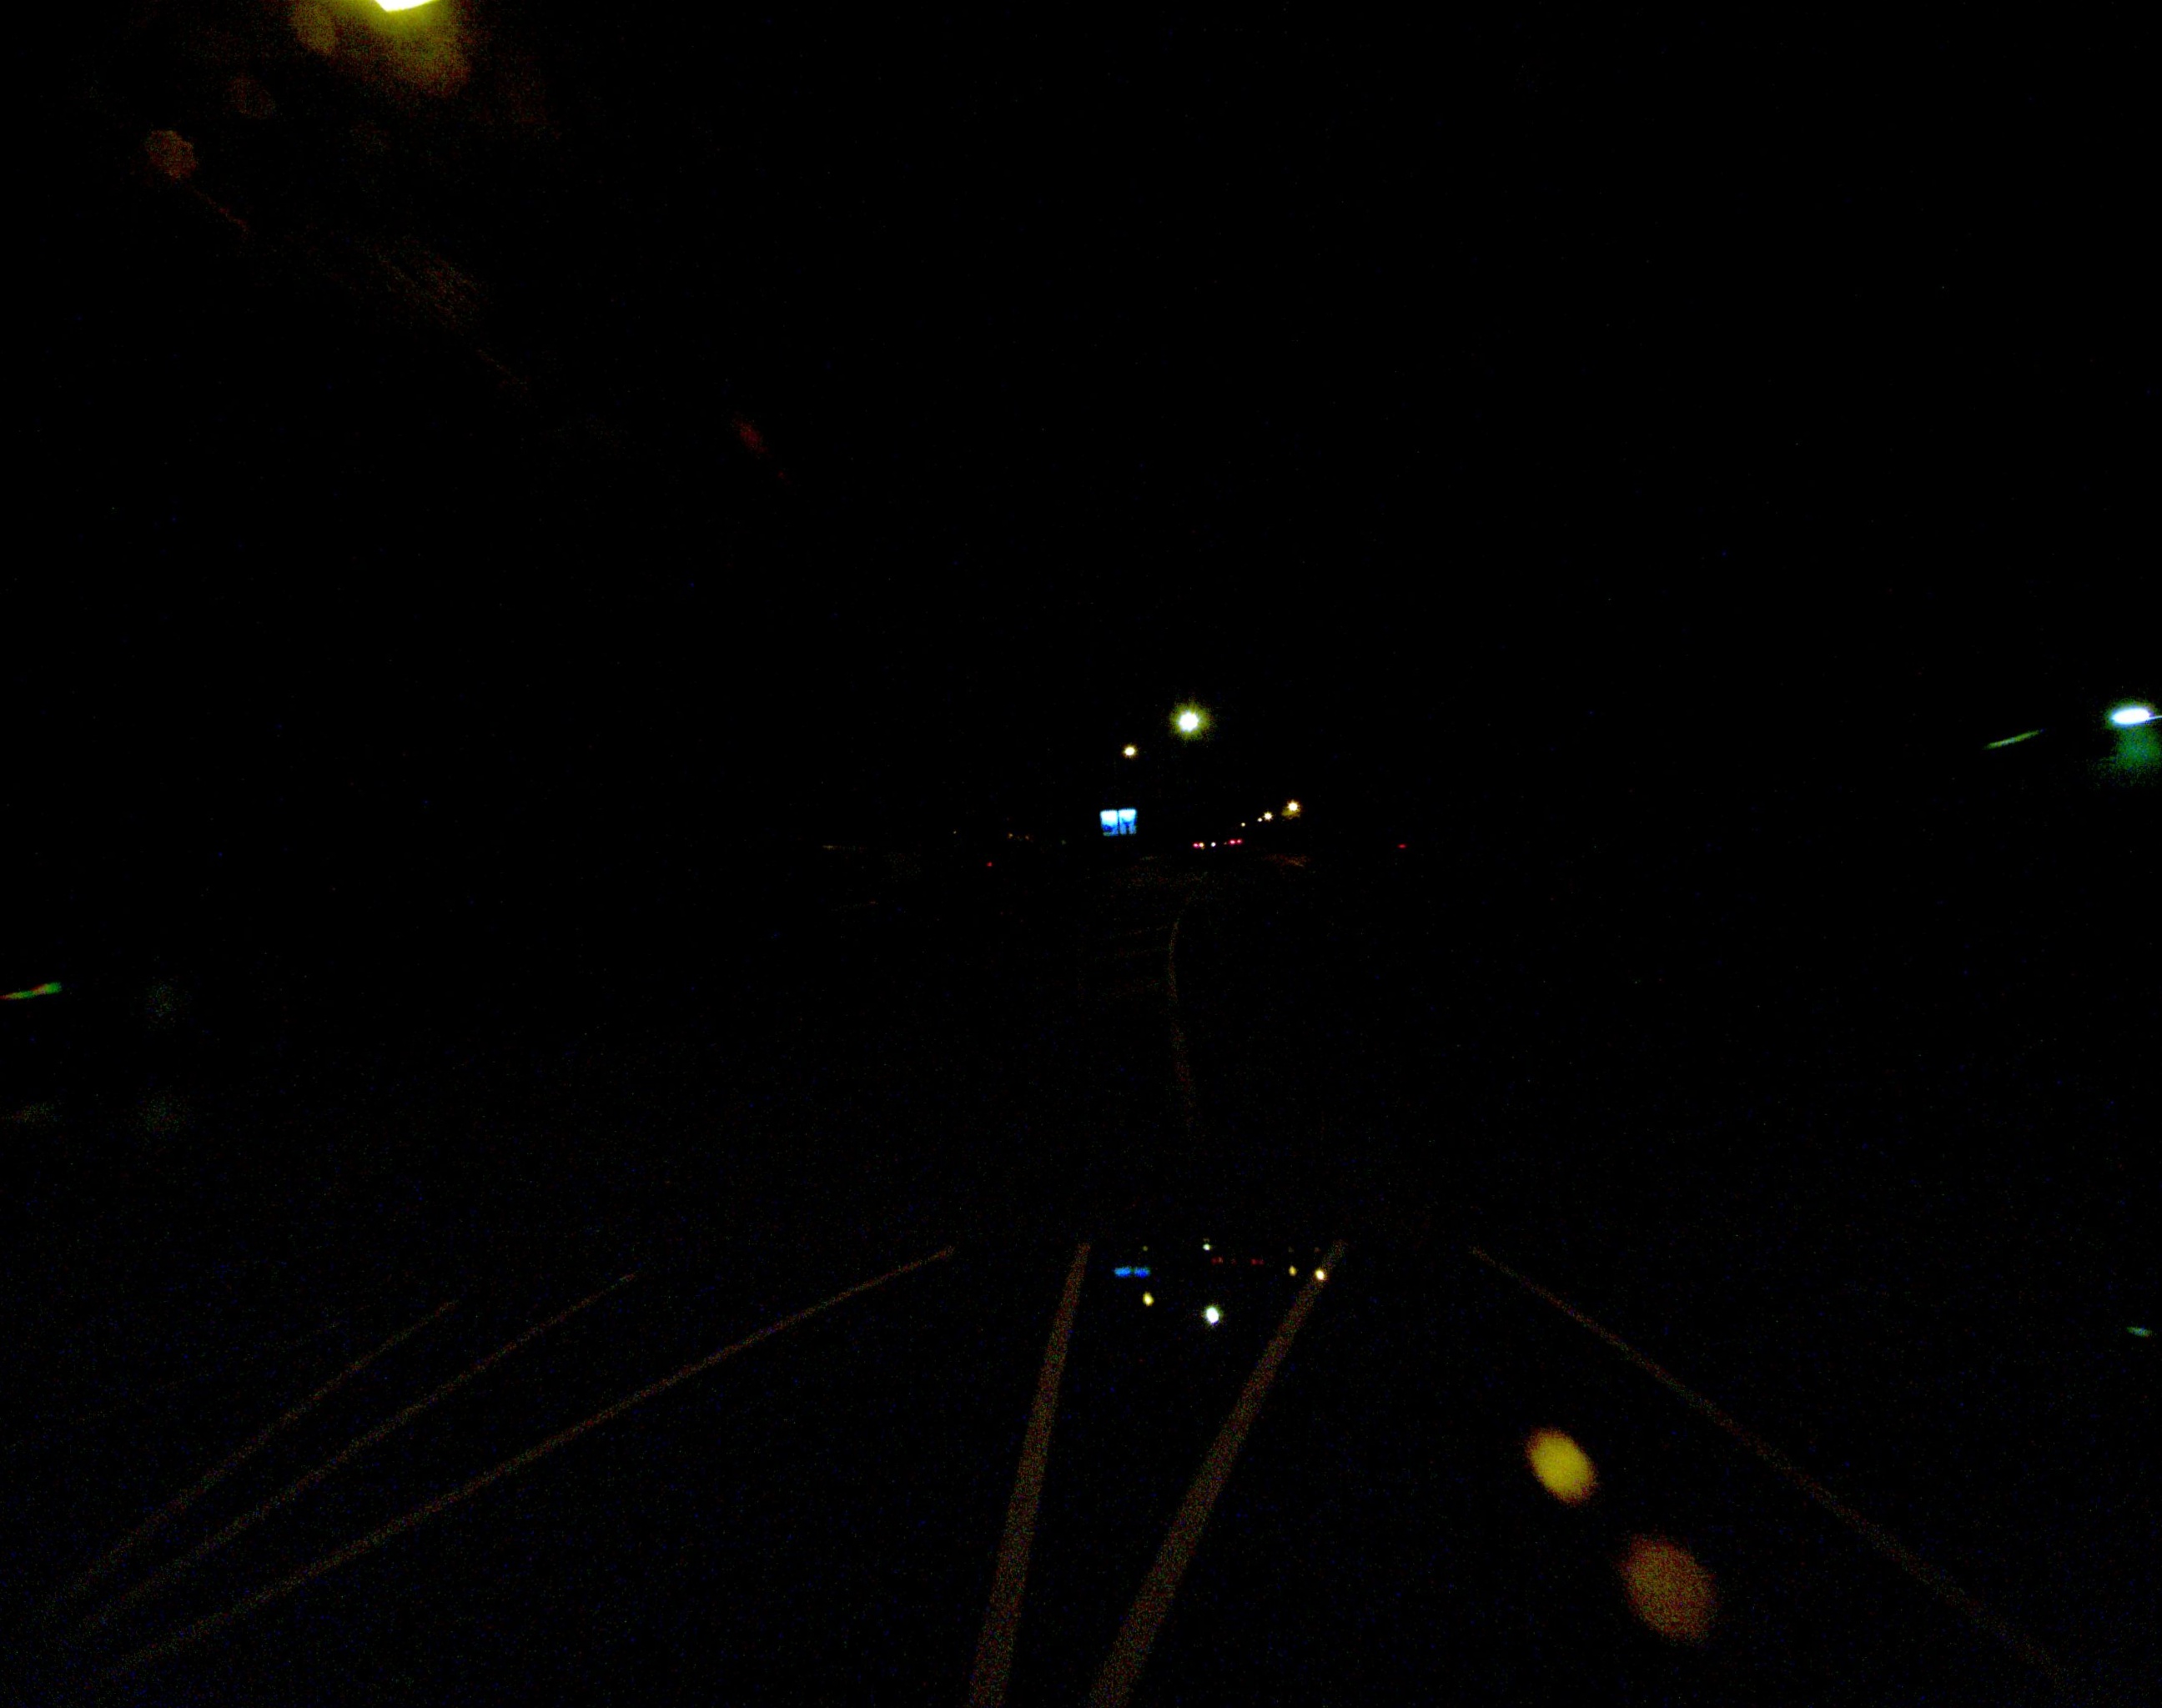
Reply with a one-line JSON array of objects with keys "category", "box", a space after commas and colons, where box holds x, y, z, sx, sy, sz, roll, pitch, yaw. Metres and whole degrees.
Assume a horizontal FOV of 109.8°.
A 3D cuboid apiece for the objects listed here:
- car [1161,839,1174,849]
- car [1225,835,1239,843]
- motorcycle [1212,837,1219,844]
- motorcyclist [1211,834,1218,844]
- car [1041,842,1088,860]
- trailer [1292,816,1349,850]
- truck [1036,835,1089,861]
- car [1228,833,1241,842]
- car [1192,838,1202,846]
[{"category": "car", "box": [14.727, -1.759, 128.981, 1.939, 1.543, 4.001, -4, 0, 5]}, {"category": "car", "box": [29.651, -2.877, 149.542, 1.998, 1.371, 4.598, -4, 1, 2]}, {"category": "motorcycle", "box": [26.071, -2.541, 147.721, 0.999, 1.297, 2.827, -4, 1, 5]}, {"category": "motorcyclist", "box": [26.015, -2.936, 147.586, 1.136, 1.889, 0.834, -4, 1, 5]}, {"category": "car", "box": [-1.964, -0.386, 90.420, 5.081, 1.826, 1.990, -4, 1, 14]}, {"category": "trailer", "box": [20.338, -1.759, 64.672, 4.356, 2.704, 2.001, -2, 1, 10]}, {"category": "truck", "box": [-2.085, -0.713, 87.872, 5.540, 2.585, 2.474, -4, 1, 10]}, {"category": "car", "box": [29.022, -3.096, 143.671, 1.852, 1.436, 4.918, -4, 1, 6]}, {"category": "car", "box": [25.949, -2.727, 169.503, 1.997, 1.617, 4.755, -4, 1, 10]}]
